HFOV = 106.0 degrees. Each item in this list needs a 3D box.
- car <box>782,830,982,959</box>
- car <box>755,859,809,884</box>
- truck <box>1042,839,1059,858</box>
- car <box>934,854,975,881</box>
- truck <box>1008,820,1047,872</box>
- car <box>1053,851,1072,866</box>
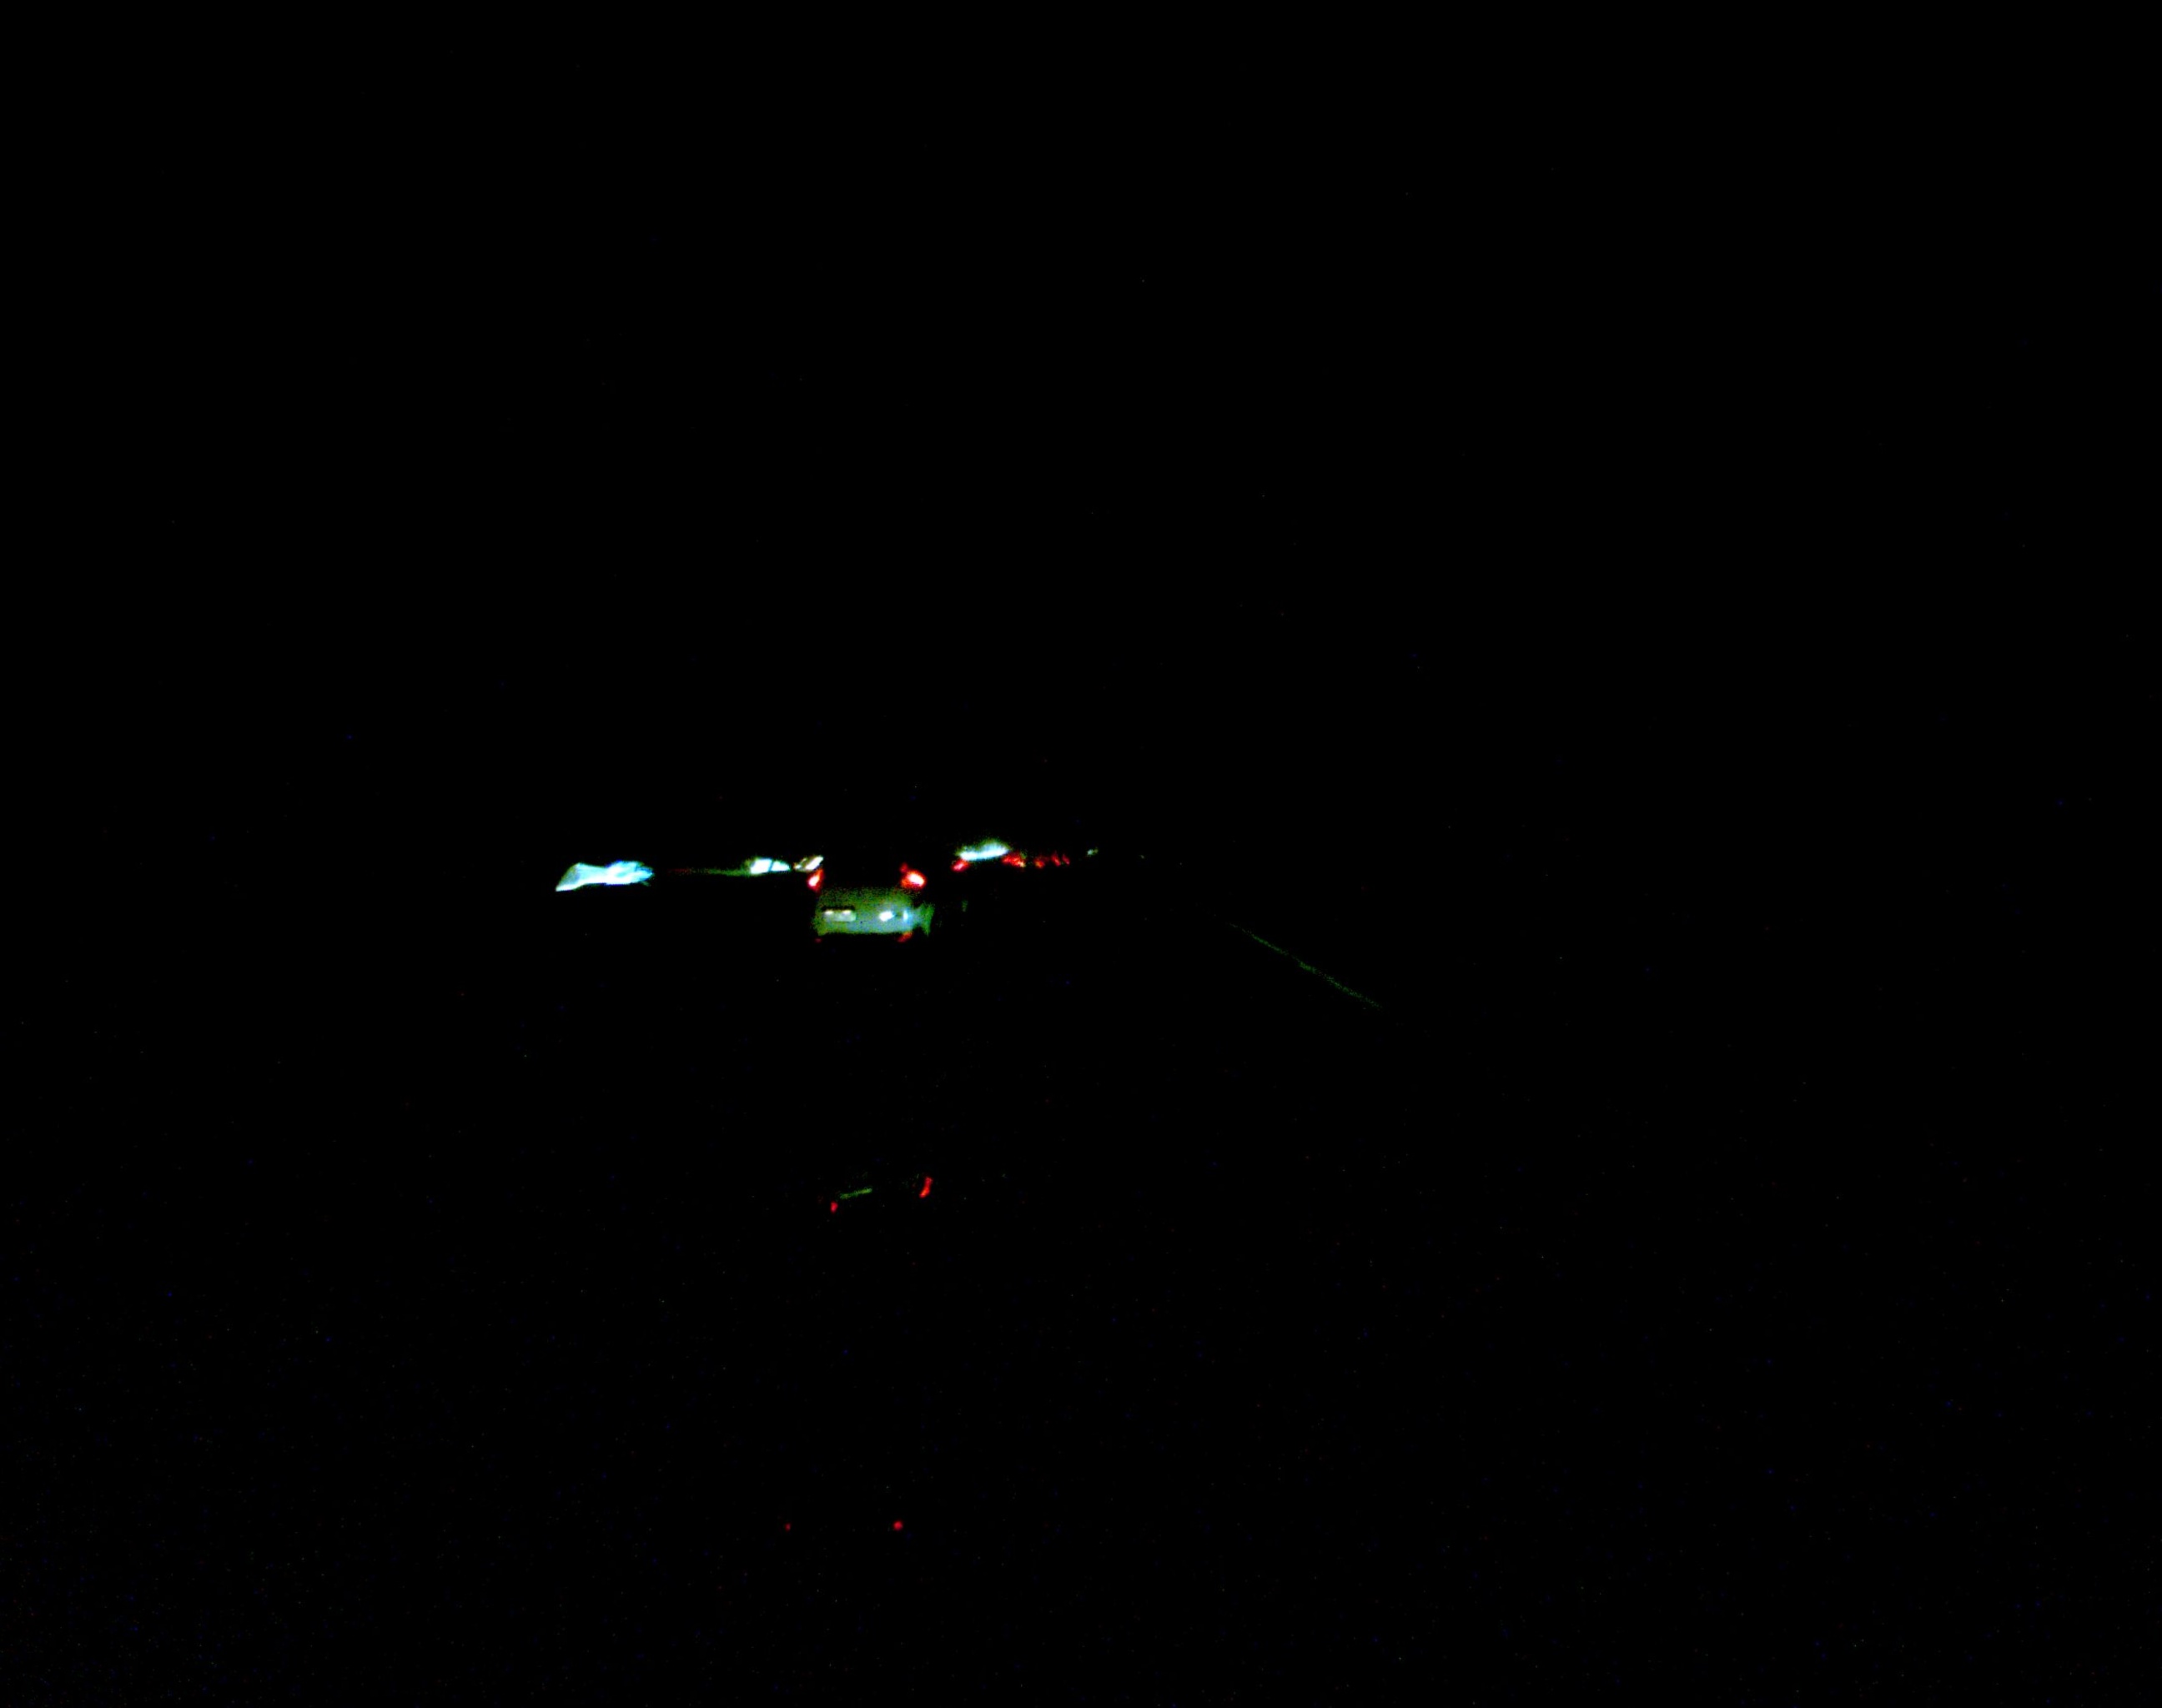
[{"bbox_3d":[-3.105,0.583,13.963,1.945,1.792,5.127,0,0,3],"label":"car"},{"bbox_3d":[-21.495,1.228,58.818,1.987,1.596,5.020,1,0,0],"label":"car"},{"bbox_3d":[-8.197,-1.365,215.448,3.818,4.915,11.584,0,0,-5],"label":"truck"},{"bbox_3d":[-8.157,0.862,52.920,1.987,1.707,4.195,0,0,0],"label":"car"},{"bbox_3d":[-6.266,-0.851,93.585,4.161,5.544,13.050,0,0,-5],"label":"truck"},{"bbox_3d":[-2.274,0.561,99.744,1.991,1.707,4.187,0,0,-5],"label":"car"}]
